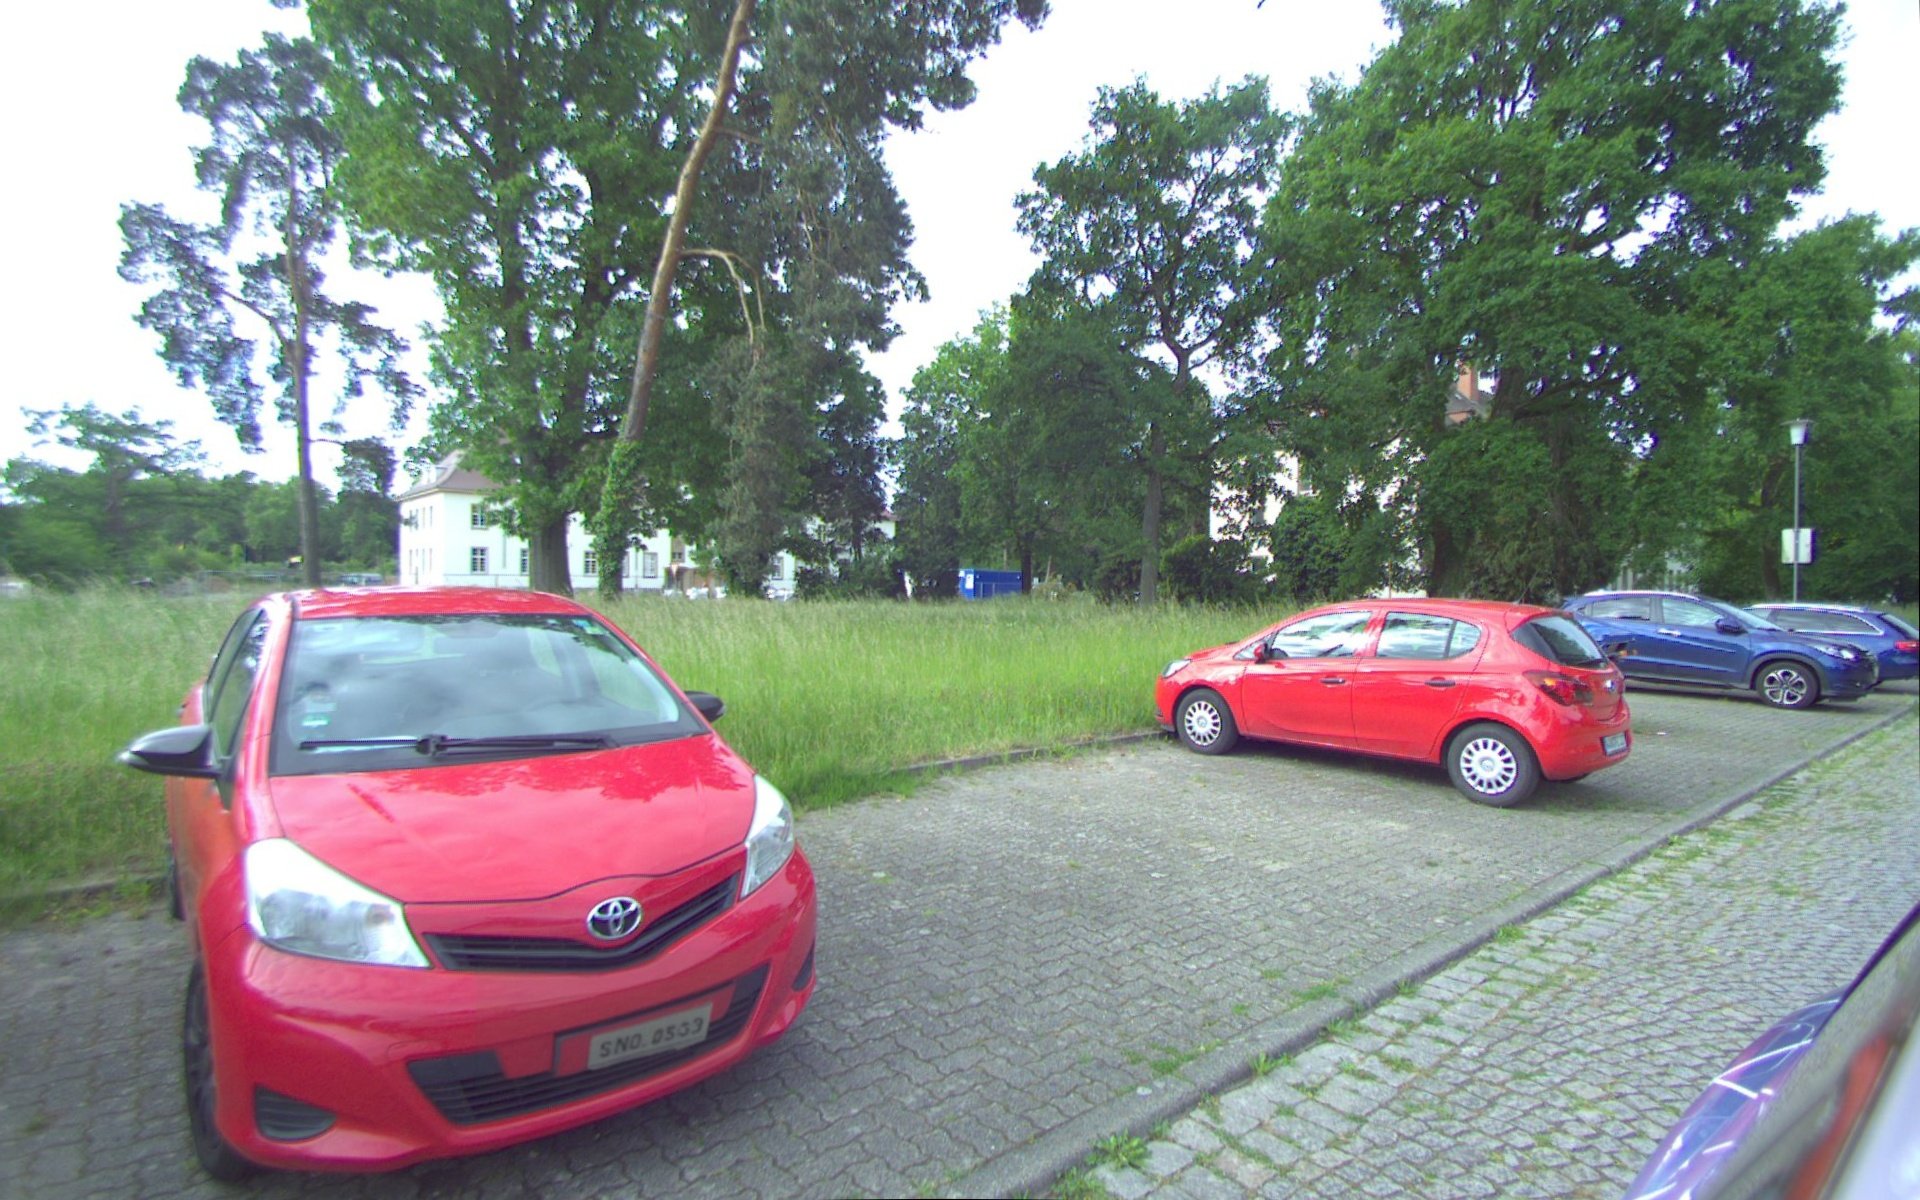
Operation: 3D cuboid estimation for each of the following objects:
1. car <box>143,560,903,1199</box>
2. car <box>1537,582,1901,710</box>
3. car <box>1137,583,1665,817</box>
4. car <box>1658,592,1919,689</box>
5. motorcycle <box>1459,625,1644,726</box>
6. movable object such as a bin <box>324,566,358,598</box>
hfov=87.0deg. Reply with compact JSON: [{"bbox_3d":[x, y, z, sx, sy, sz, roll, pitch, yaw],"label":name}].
[{"bbox_3d":[-2.125,0.632,4.054,1.734,1.504,4.015,0,2,-40],"label":"car"},{"bbox_3d":[11.270,0.569,15.281,1.555,1.557,4.147,0,2,-41],"label":"car"},{"bbox_3d":[3.582,0.646,8.790,1.555,1.478,3.891,0,2,-41],"label":"car"},{"bbox_3d":[14.947,0.640,18.019,1.555,1.443,3.875,0,2,-41],"label":"car"},{"bbox_3d":[6.810,0.834,11.712,1.741,0.969,0.605,3,2,44],"label":"motorcycle"},{"bbox_3d":[-41.040,-1.184,67.186,1.647,2.039,3.249,0,1,-27],"label":"movable object such as a bin"}]
